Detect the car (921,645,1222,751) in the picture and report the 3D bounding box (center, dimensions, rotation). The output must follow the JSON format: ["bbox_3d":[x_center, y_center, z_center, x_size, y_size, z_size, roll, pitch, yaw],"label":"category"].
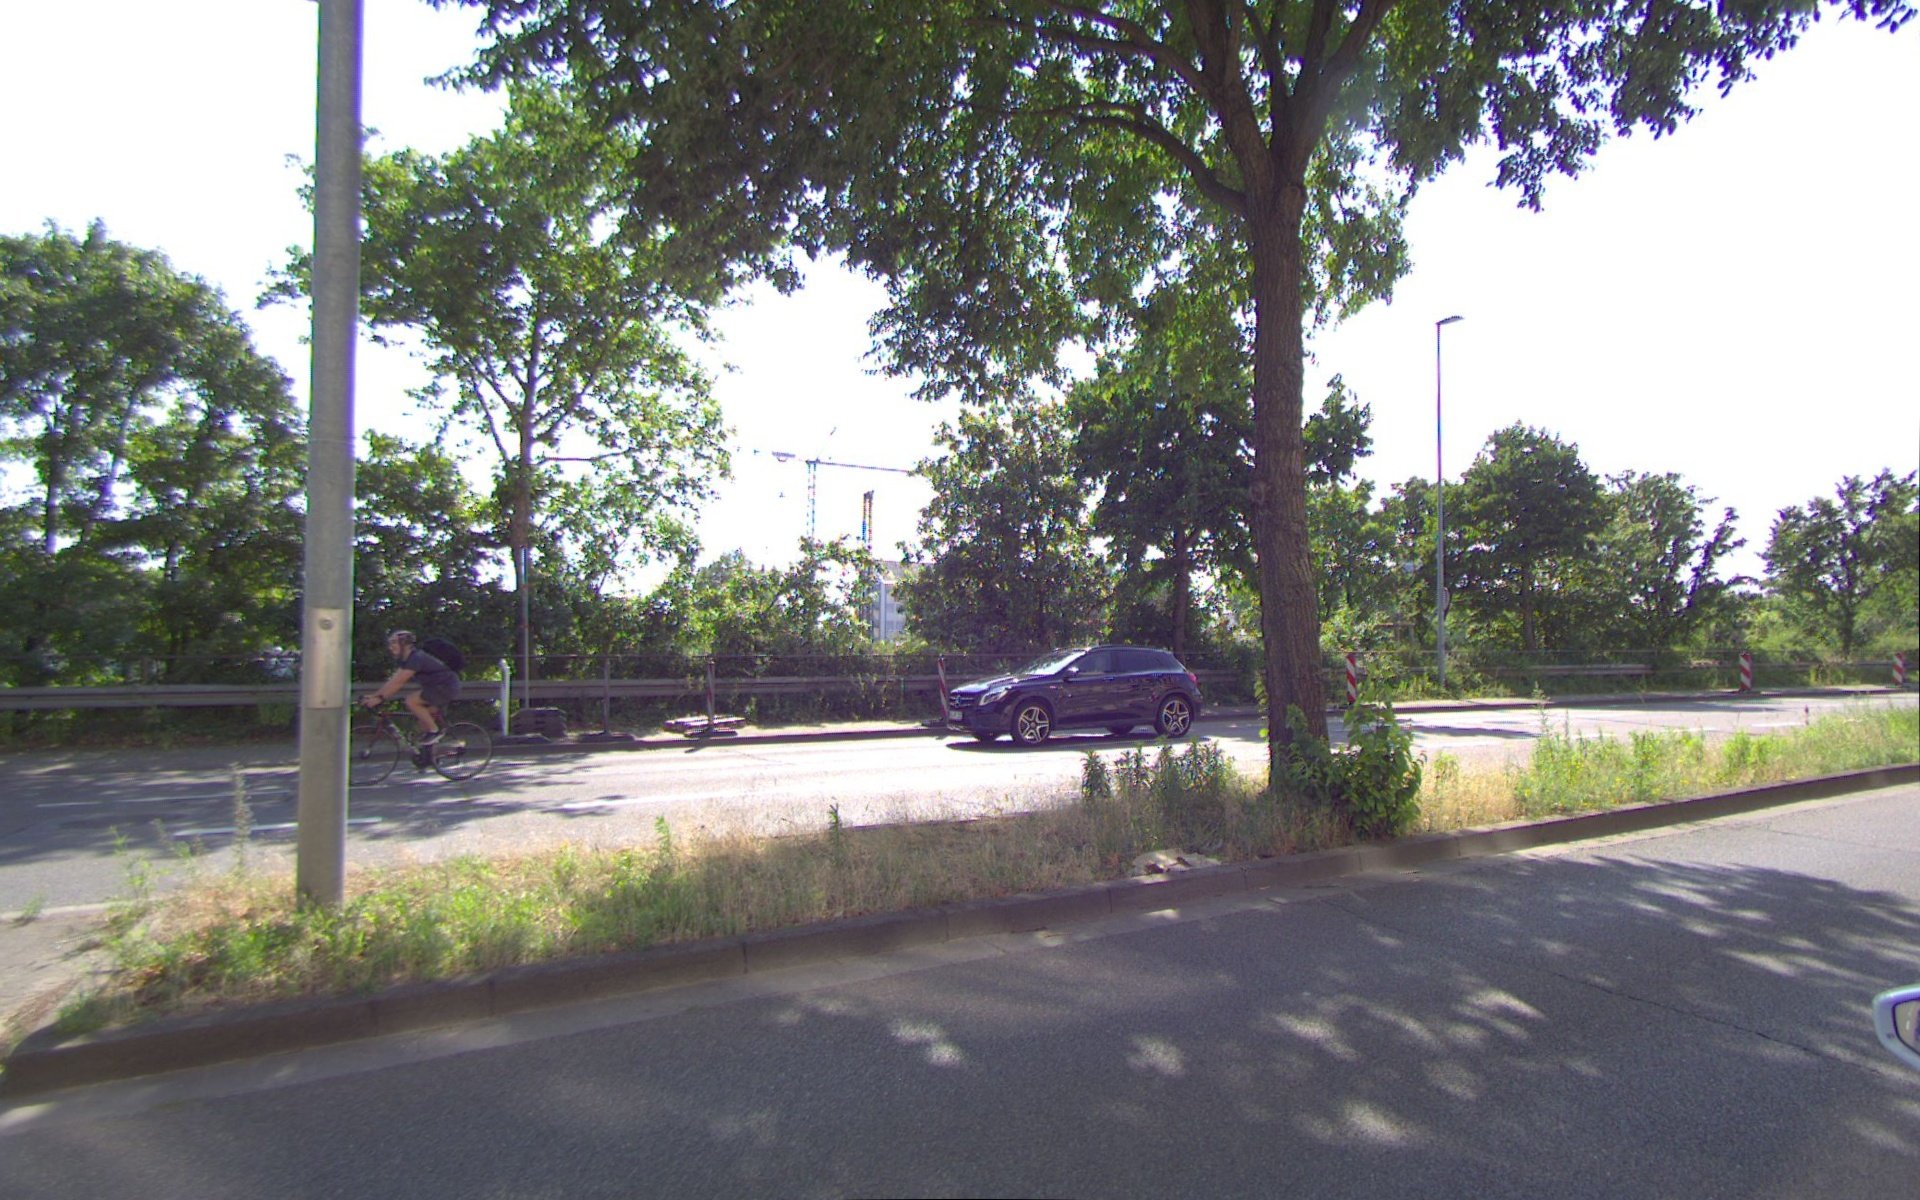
[{"bbox_3d":[1.861,1.543,16.589,4.638,1.548,1.987,2,-4,-27],"label":"car"}]

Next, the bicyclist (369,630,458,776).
[{"bbox_3d":[-6.103,1.120,11.217,0.771,1.554,0.569,2,-3,-37],"label":"bicyclist"}]

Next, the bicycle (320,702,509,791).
[{"bbox_3d":[-6.066,1.601,11.228,1.789,0.843,0.490,2,-3,-37],"label":"bicycle"}]
